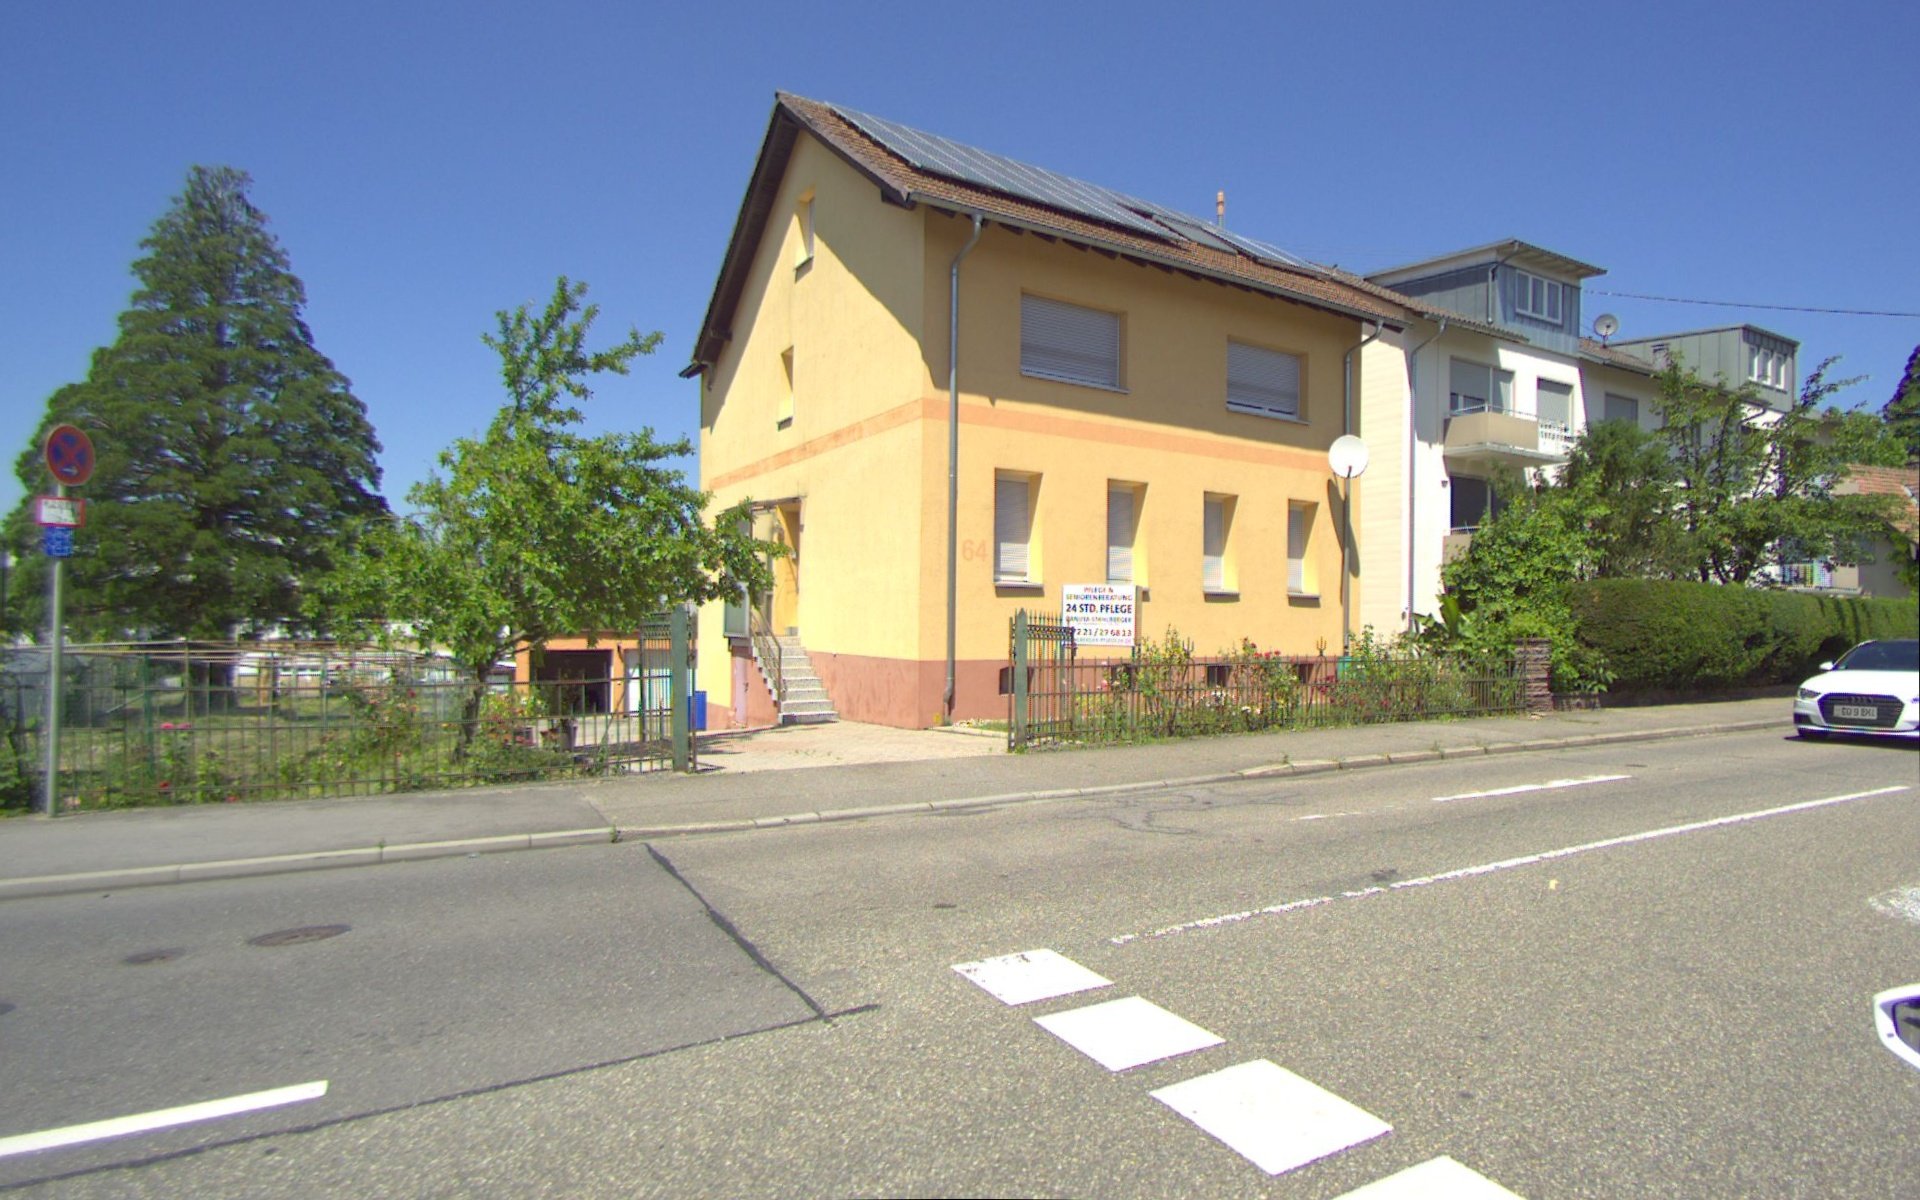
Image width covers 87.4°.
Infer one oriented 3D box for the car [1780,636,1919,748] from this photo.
[{"bbox_3d":[13.370,1.195,13.996,4.157,1.390,1.672,1,-2,-31],"label":"car"}]
